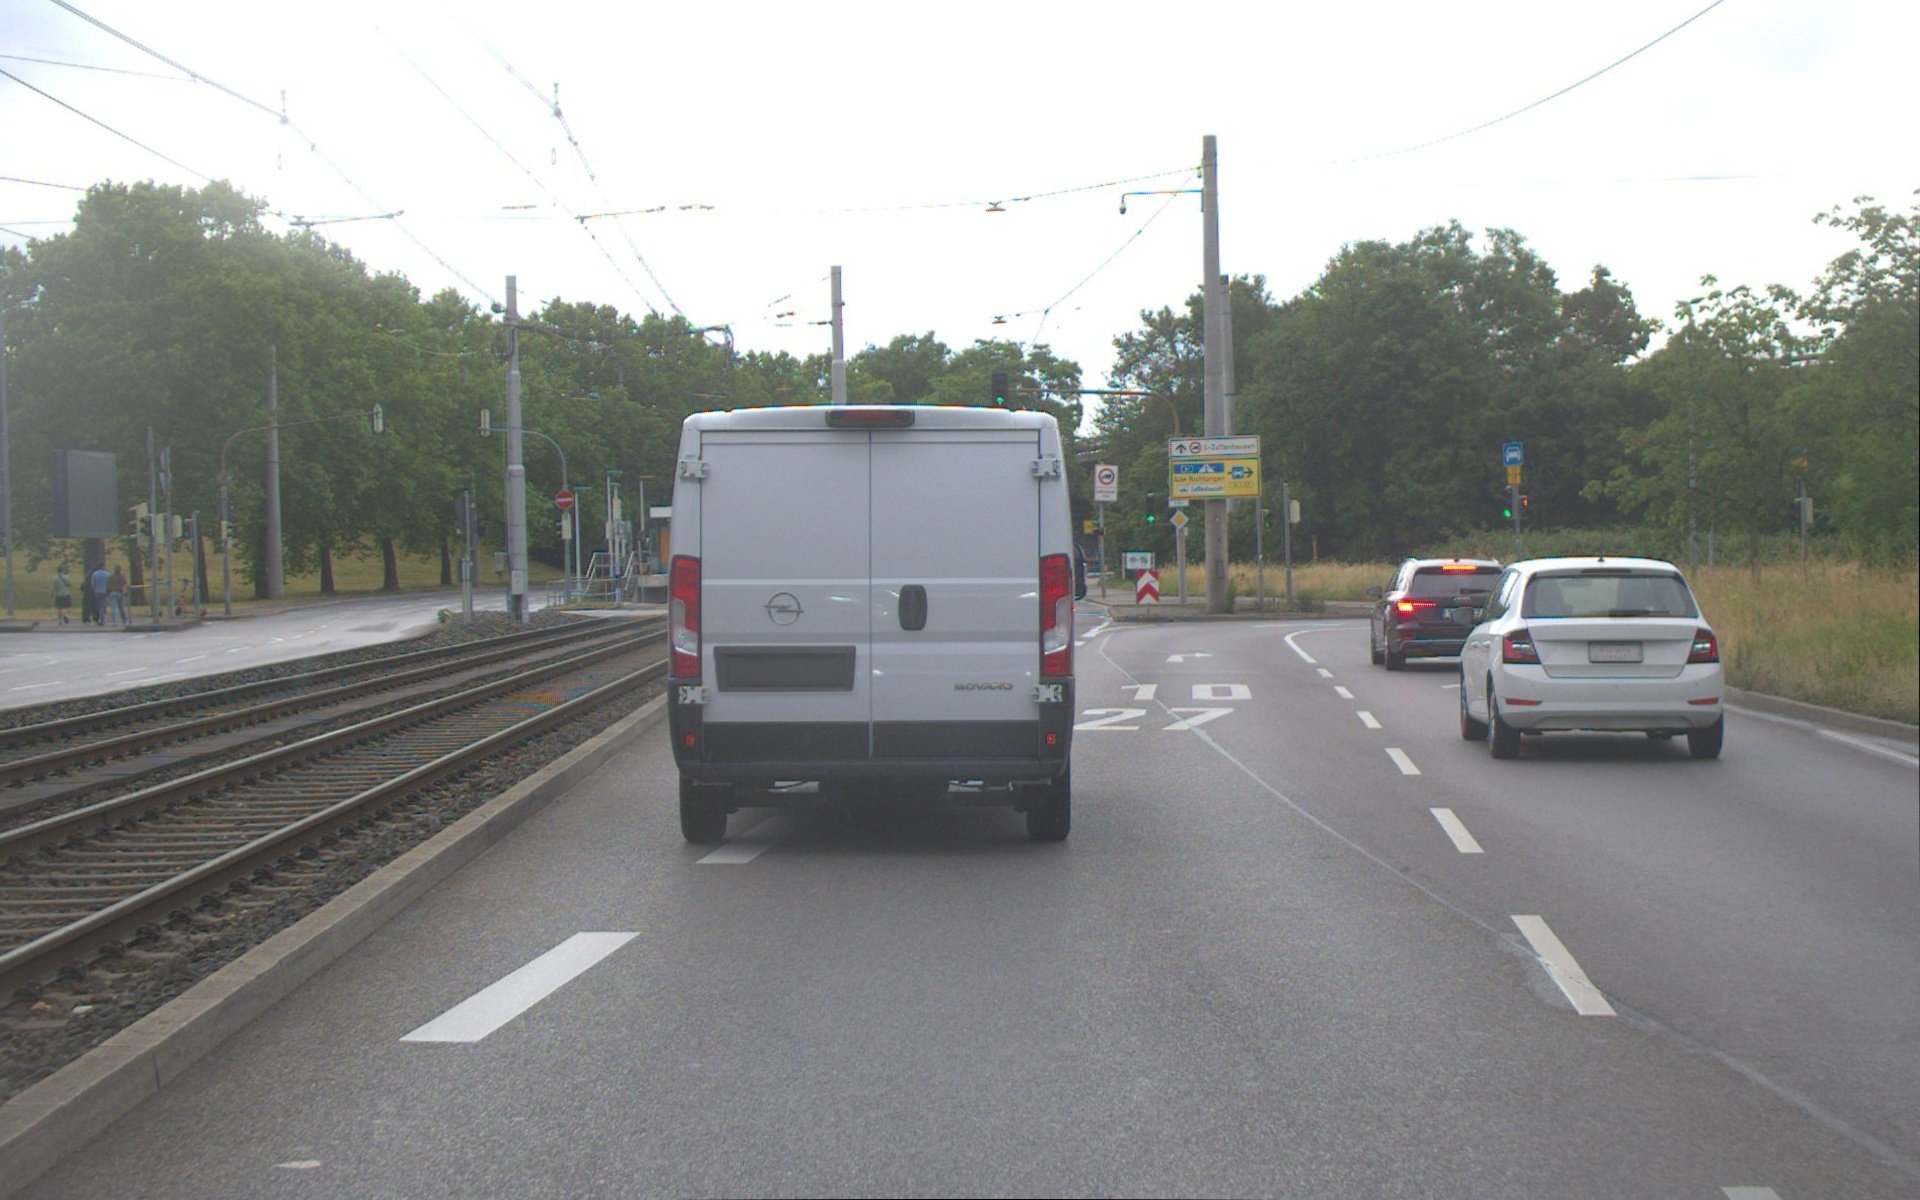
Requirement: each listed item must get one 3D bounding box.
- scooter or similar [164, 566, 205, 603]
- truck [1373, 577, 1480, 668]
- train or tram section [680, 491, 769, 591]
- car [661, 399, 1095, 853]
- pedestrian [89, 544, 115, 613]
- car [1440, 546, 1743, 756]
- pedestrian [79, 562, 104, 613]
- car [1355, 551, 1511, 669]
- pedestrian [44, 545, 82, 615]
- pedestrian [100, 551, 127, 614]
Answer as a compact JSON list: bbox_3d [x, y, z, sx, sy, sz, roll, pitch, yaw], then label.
[{"bbox_3d":[-25.389,-0.515,112.522,0.380,1.157,1.277,0,2,45],"label":"scooter or similar"},{"bbox_3d":[10.105,0.454,74.175,1.994,1.784,4.412,-1,1,11],"label":"truck"},{"bbox_3d":[-9.540,-2.374,139.976,2.928,3.919,7.005,1,1,1],"label":"train or tram section"},{"bbox_3d":[-0.423,0.075,19.269,2.090,2.189,5.061,1,1,0],"label":"car"},{"bbox_3d":[-24.466,-0.624,98.007,0.496,1.949,0.722,1,1,4],"label":"pedestrian"},{"bbox_3d":[4.692,0.332,26.004,1.746,1.452,3.671,0,1,2],"label":"car"},{"bbox_3d":[-25.094,-0.366,99.345,0.496,1.468,0.722,1,1,1],"label":"pedestrian"},{"bbox_3d":[6.039,0.099,44.211,1.790,1.444,3.999,0,1,5],"label":"car"},{"bbox_3d":[-25.880,-0.580,99.165,0.887,2.007,0.866,-1,1,-5],"label":"pedestrian"},{"bbox_3d":[-24.070,-0.499,97.768,0.506,1.781,0.832,1,1,4],"label":"pedestrian"}]
